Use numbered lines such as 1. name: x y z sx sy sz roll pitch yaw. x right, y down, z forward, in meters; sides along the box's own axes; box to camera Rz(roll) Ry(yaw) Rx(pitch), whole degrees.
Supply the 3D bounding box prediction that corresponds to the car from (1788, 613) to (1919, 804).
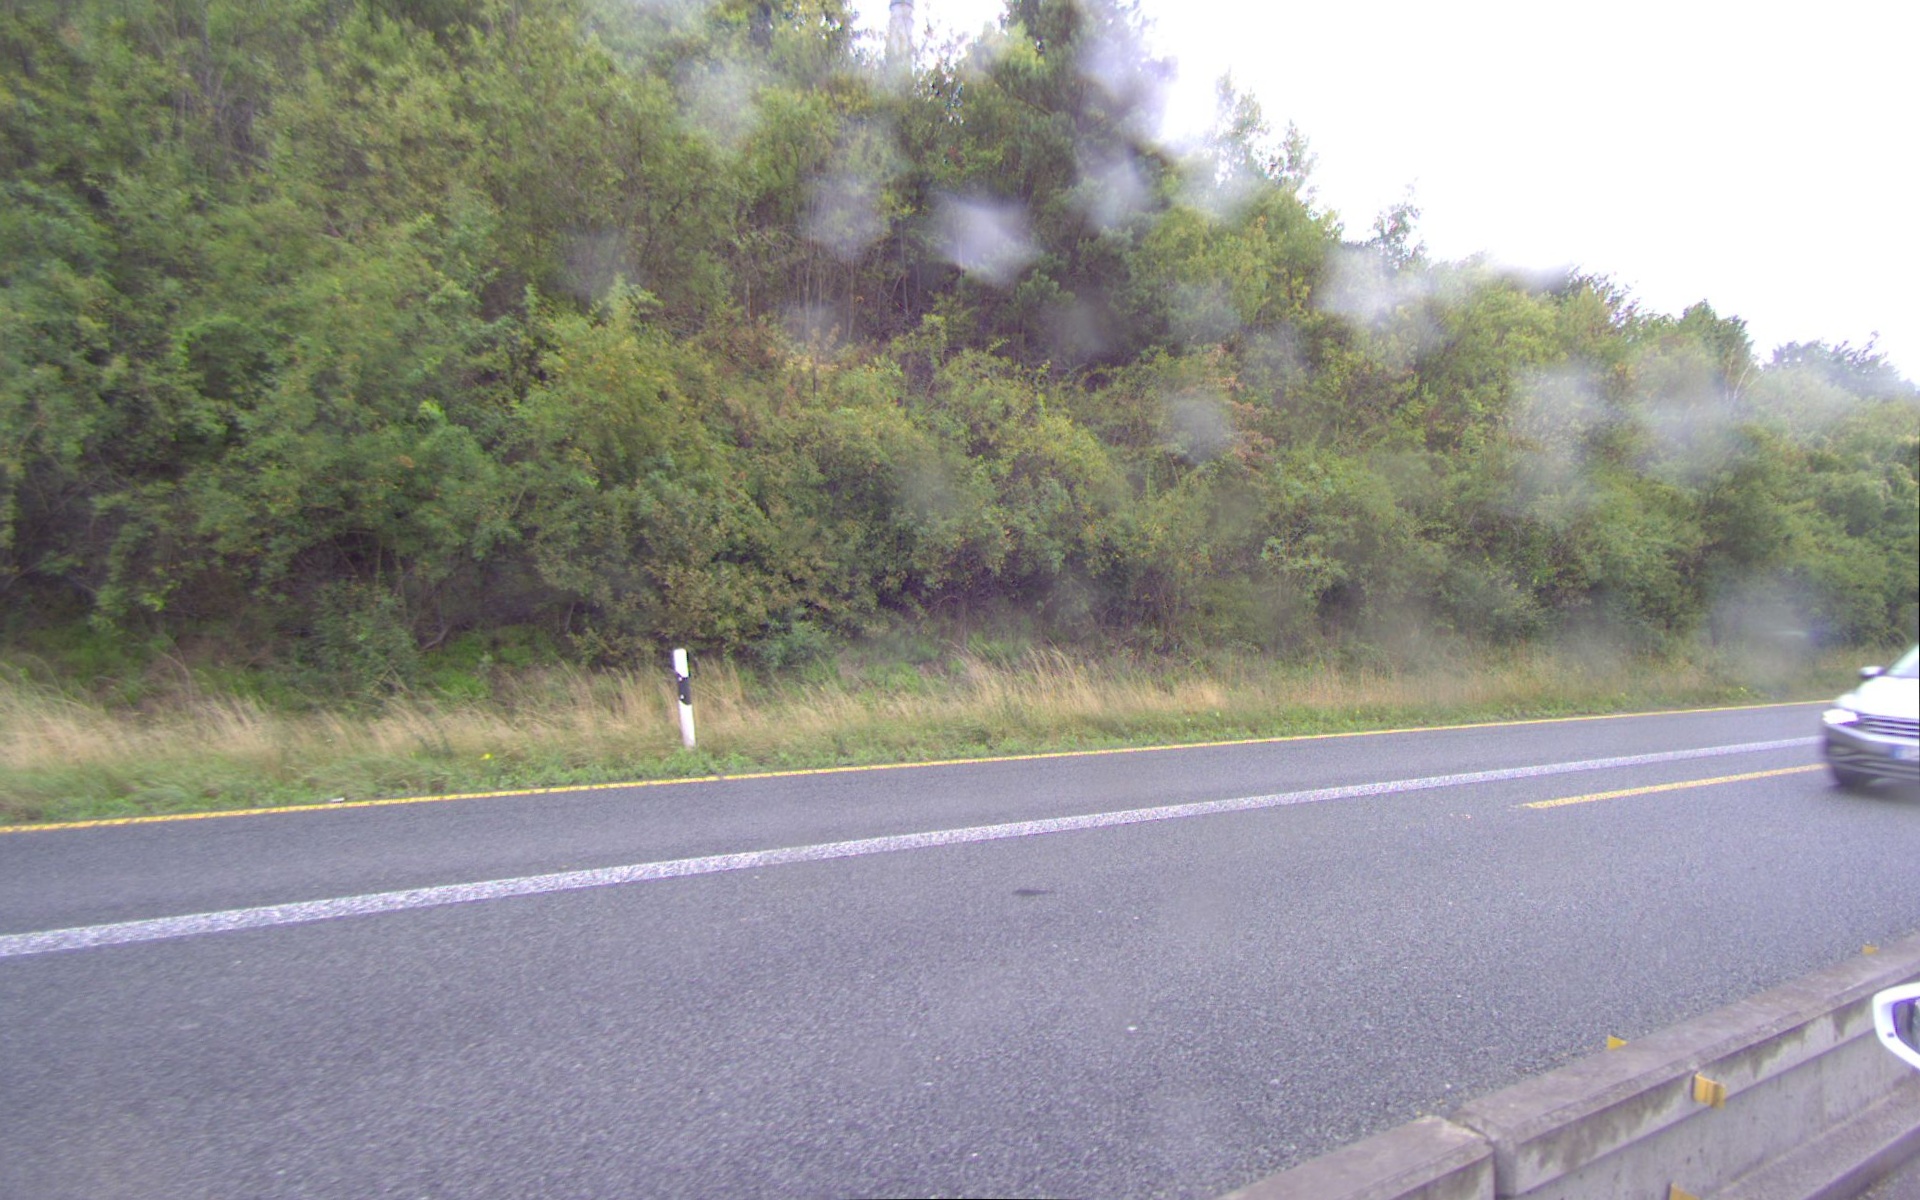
1. car: 9.568 0.937 9.121 4.346 1.508 1.801 2 0 -31
